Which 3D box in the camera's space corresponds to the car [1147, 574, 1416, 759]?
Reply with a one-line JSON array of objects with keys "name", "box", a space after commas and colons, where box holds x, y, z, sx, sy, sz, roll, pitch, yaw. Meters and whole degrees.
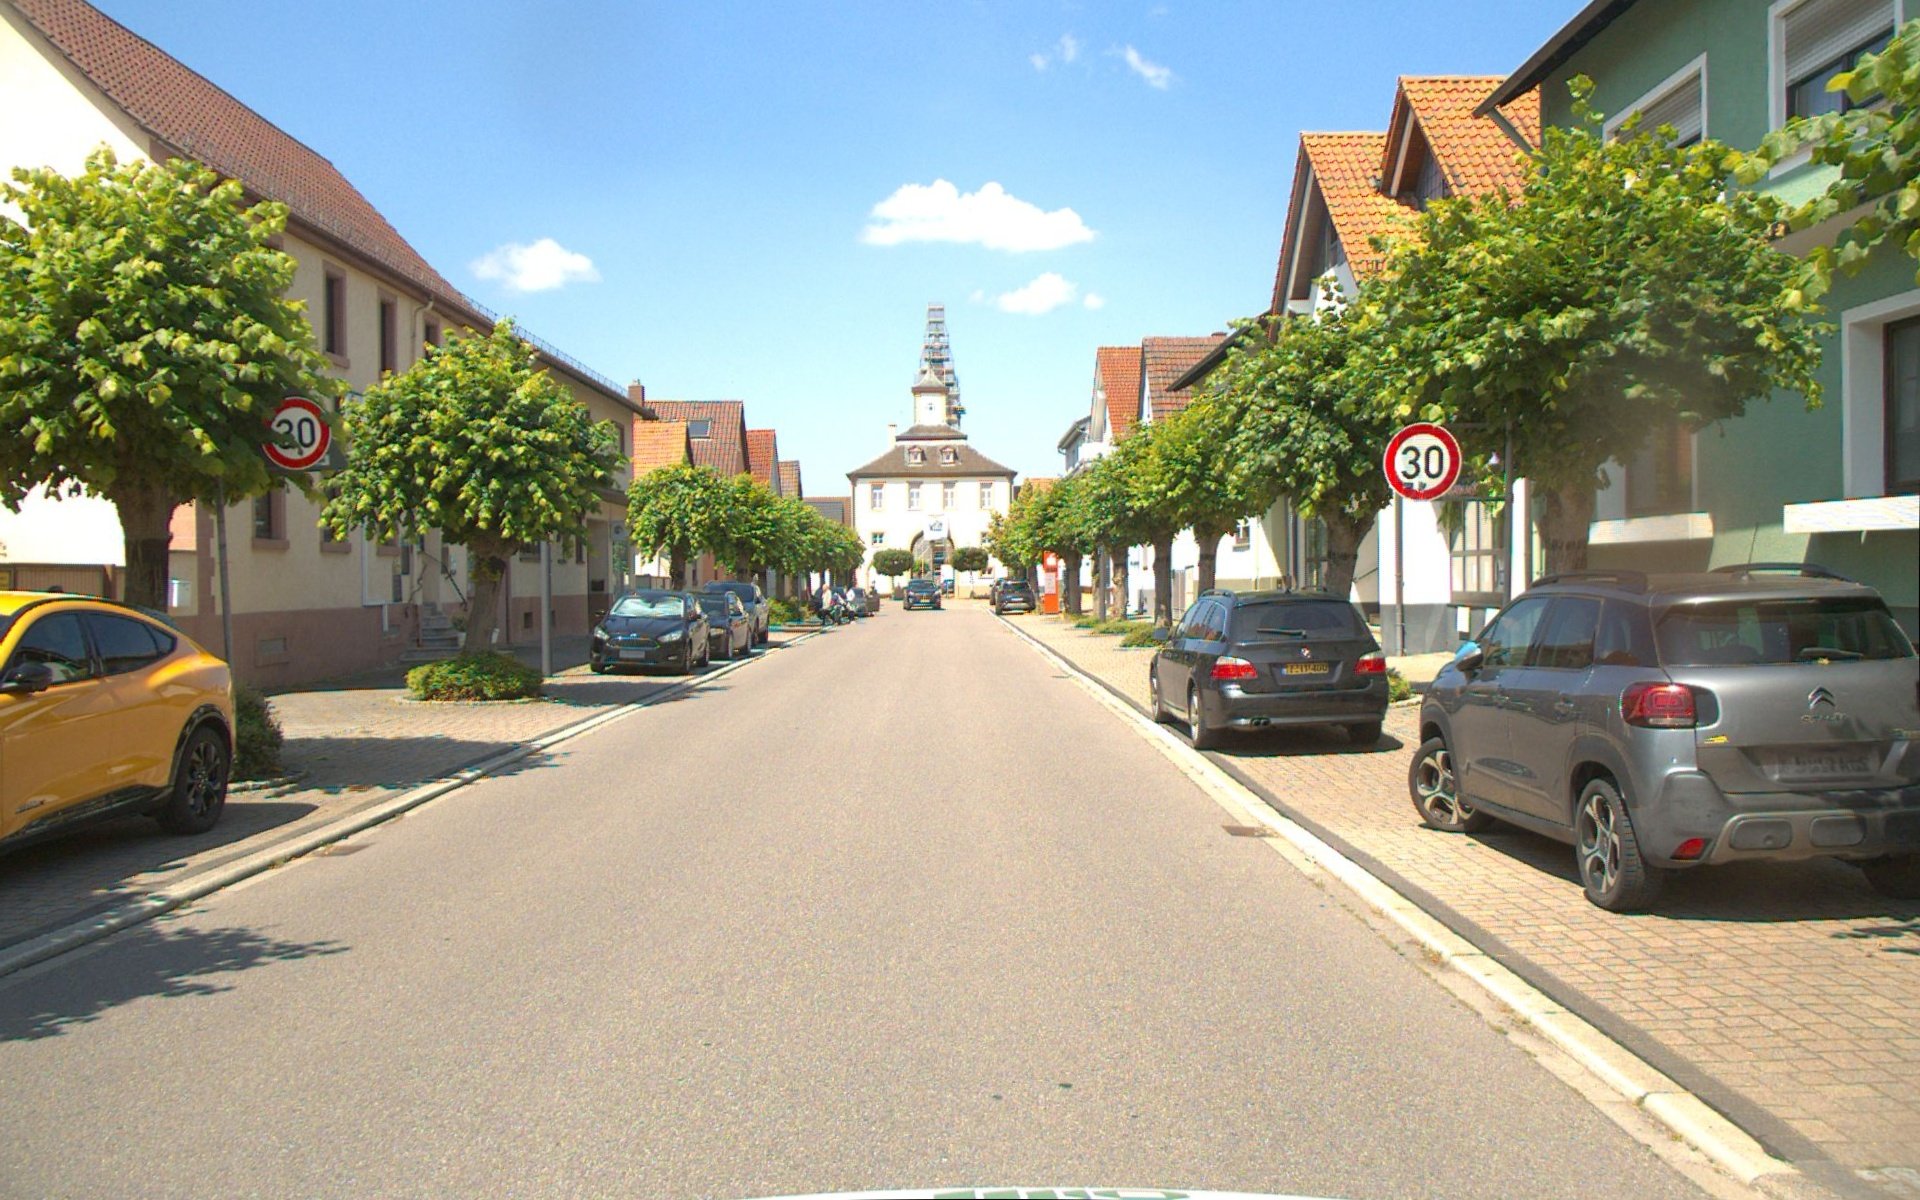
[{"name": "car", "box": [3.122, 0.568, 16.939, 1.800, 1.582, 4.313, -2, 1, -1]}]

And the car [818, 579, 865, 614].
[{"name": "car", "box": [-5.693, -0.167, 79.651, 1.952, 1.639, 3.855, 1, 0, 0]}]

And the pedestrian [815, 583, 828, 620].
[{"name": "pedestrian", "box": [-5.328, 0.055, 63.751, 0.352, 1.427, 0.319, -1, 0, 37]}]

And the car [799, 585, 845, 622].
[{"name": "car", "box": [-6.133, 0.141, 73.903, 1.721, 1.582, 4.020, -1, 1, 0]}]

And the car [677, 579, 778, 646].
[{"name": "car", "box": [-6.069, 0.278, 43.719, 1.952, 1.639, 4.689, -1, 1, 0]}]

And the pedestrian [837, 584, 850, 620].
[{"name": "pedestrian", "box": [-4.578, 0.071, 64.920, 0.352, 1.427, 0.319, -1, 0, 37]}]

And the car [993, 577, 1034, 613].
[{"name": "car", "box": [2.543, -0.268, 79.691, 1.800, 1.582, 4.313, -2, 1, 0]}]

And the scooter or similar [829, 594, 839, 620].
[{"name": "scooter or similar", "box": [-4.931, 0.266, 64.650, 0.323, 1.020, 0.240, -1, 0, 37]}]

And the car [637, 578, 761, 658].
[{"name": "car", "box": [-5.715, 0.381, 36.753, 1.952, 1.639, 4.689, 1, 0, 0]}]

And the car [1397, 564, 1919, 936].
[{"name": "car", "box": [3.953, 0.639, 9.344, 1.800, 1.636, 3.999, 0, 1, -2]}]

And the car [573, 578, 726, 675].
[{"name": "car", "box": [-5.753, 0.432, 31.206, 1.952, 1.639, 4.689, 1, 1, 0]}]

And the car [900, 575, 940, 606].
[{"name": "car", "box": [-2.219, -0.487, 91.320, 1.954, 1.639, 4.501, 1, 0, -5]}]

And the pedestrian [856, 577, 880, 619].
[{"name": "pedestrian", "box": [-4.588, -0.103, 82.423, 0.871, 2.049, 0.830, 1, 0, 42]}]

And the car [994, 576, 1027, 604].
[{"name": "car", "box": [2.970, -0.613, 97.913, 1.799, 1.582, 4.314, -2, 1, 1]}]

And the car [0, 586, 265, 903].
[{"name": "car", "box": [-6.025, 0.758, 9.605, 1.952, 1.639, 4.689, 1, 1, 0]}]

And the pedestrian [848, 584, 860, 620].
[{"name": "pedestrian", "box": [-4.178, 0.079, 65.126, 0.352, 1.427, 0.319, -1, 0, 37]}]
